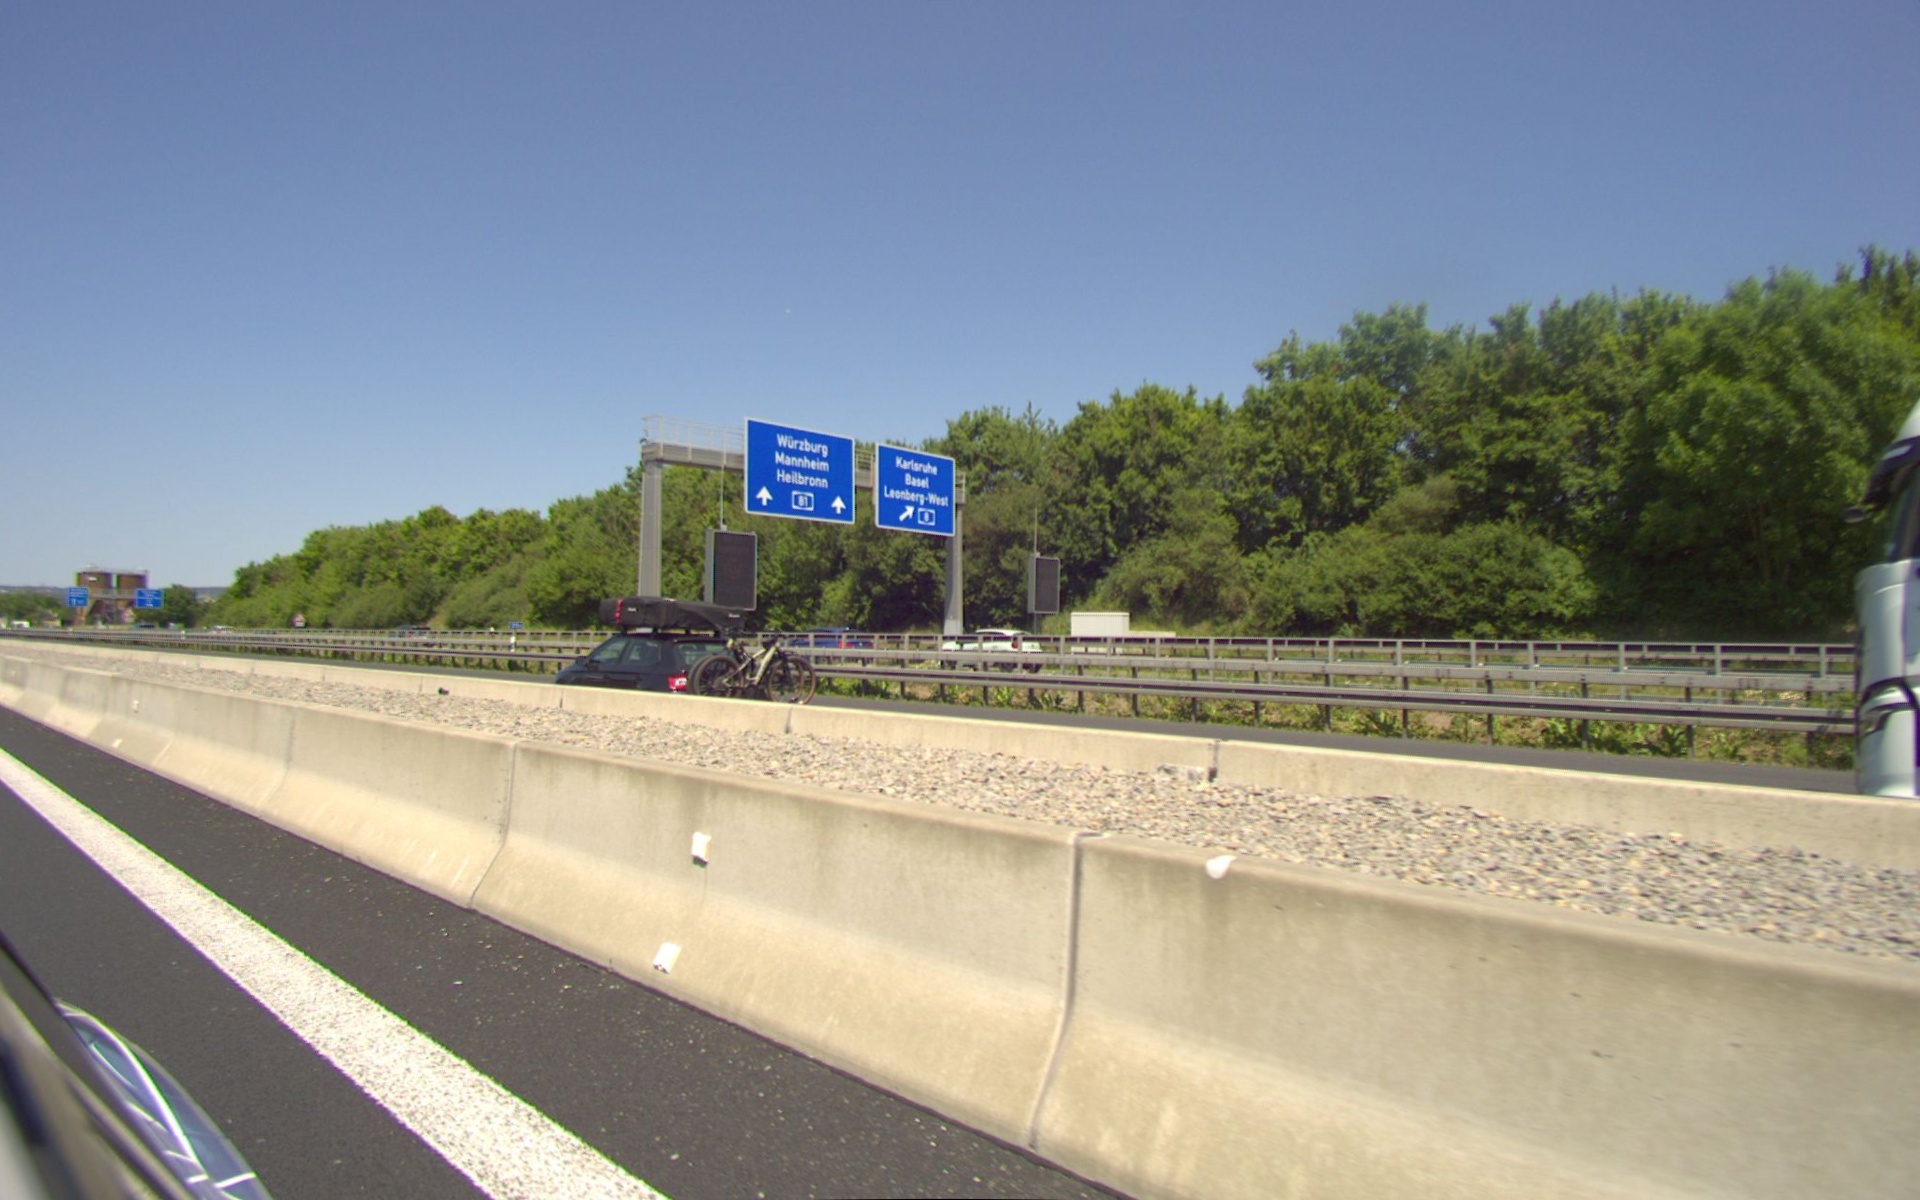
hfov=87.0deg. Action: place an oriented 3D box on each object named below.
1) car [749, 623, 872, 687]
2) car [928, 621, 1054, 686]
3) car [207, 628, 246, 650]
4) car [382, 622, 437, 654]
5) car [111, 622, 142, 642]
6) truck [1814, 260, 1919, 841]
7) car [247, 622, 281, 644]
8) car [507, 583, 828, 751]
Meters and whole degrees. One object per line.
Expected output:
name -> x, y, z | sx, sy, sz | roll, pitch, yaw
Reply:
car -> -5.159, 1.822, 34.731 | 3.995, 2.029, 1.975 | -1, 0, 38
car -> 1.026, 1.778, 34.659 | 3.999, 2.029, 1.972 | -1, 0, 42
car -> -72.787, 3.842, 100.417 | 4.758, 2.029, 1.927 | -1, 0, 39
car -> -37.199, 2.563, 68.353 | 3.997, 2.029, 1.973 | -1, 0, 41
car -> -87.959, 3.337, 106.788 | 4.764, 2.029, 1.925 | -1, 0, 43
truck -> 9.302, -0.397, 7.442 | 4.550, 4.320, 2.678 | -1, 0, 40
car -> -69.563, 3.282, 101.149 | 4.021, 2.029, 1.925 | -1, 0, 43
car -> -4.414, 0.866, 14.720 | 5.344, 2.029, 1.898 | -1, -2, 41
